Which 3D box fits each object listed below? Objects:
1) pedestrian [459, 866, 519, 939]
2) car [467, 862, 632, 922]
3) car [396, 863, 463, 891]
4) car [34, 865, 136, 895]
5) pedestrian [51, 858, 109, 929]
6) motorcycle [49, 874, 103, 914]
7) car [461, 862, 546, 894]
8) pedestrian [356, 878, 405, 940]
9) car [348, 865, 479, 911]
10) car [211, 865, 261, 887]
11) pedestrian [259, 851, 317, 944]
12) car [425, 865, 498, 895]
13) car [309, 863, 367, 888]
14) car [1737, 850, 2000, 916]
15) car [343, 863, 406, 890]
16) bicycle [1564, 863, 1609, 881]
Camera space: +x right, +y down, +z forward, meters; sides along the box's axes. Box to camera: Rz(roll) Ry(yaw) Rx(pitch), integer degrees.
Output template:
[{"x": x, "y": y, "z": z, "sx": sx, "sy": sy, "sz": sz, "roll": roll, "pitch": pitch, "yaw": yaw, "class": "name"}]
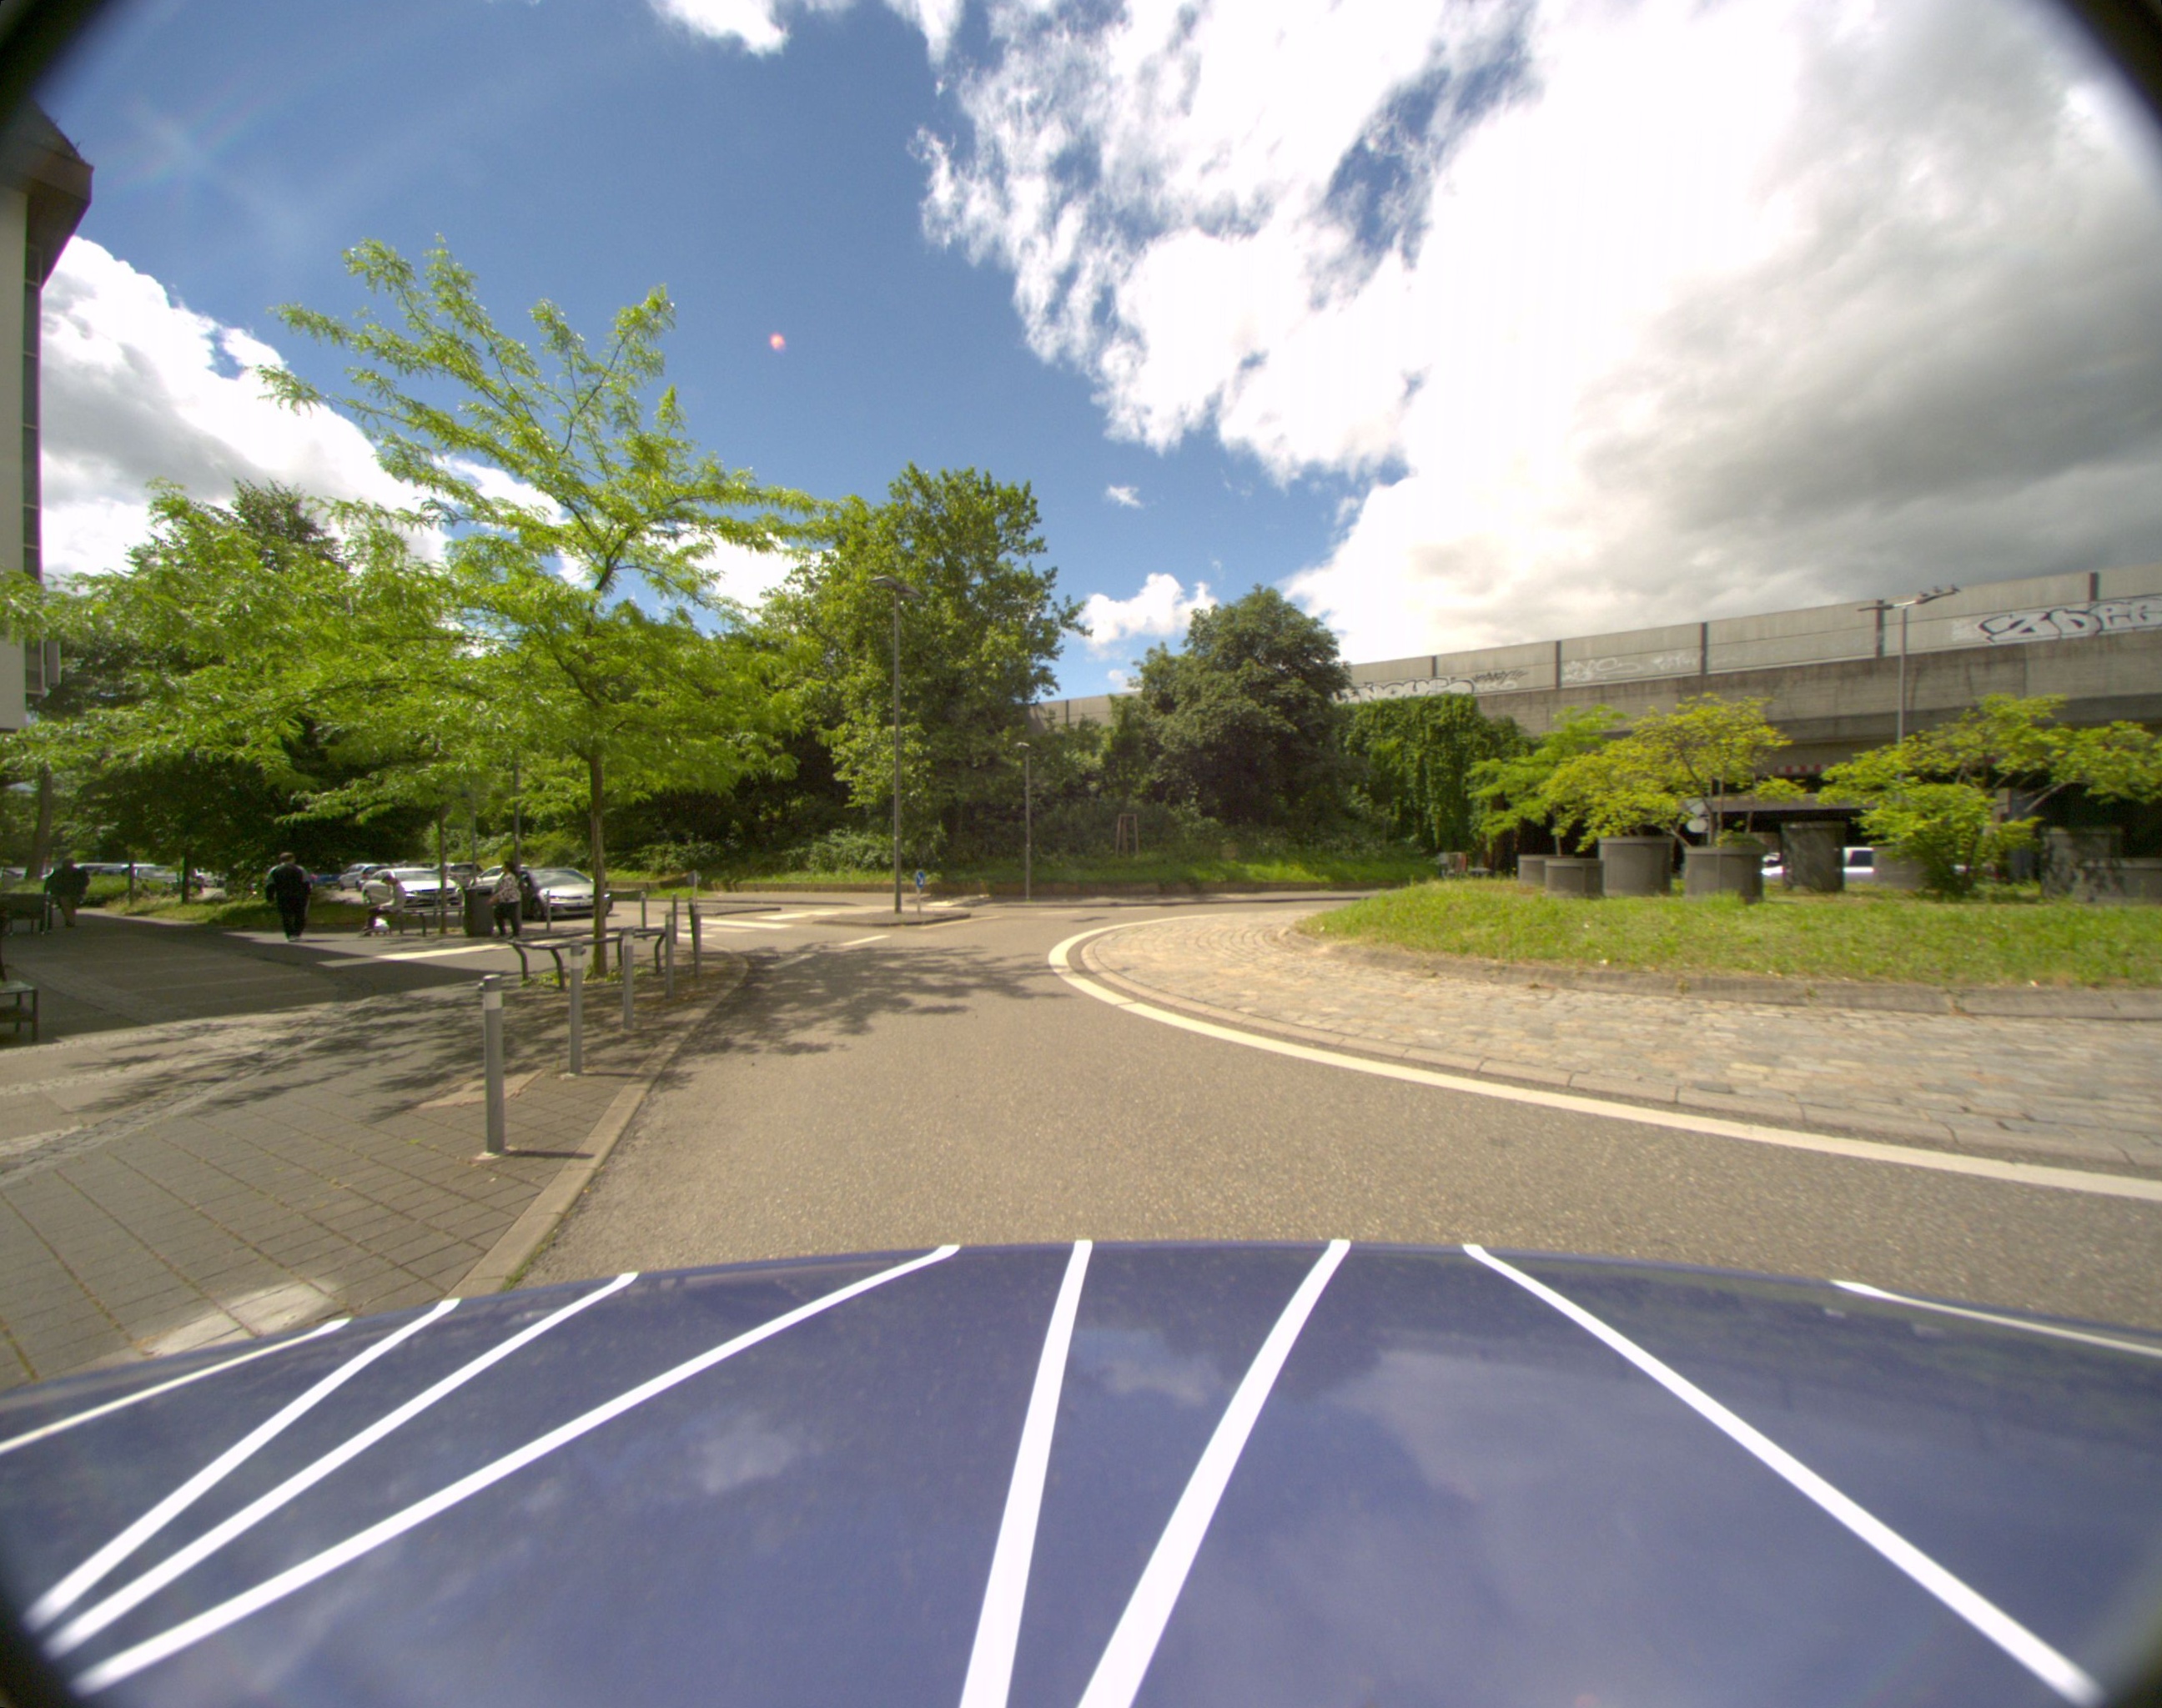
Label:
[{"x": -12.882, "y": 1.036, "z": 16.562, "sx": 0.780, "sy": 1.544, "sz": 0.765, "roll": -1, "pitch": 0, "yaw": -15, "class": "pedestrian"}, {"x": -15.335, "y": 1.036, "z": 21.889, "sx": 4.573, "sy": 1.499, "sz": 2.003, "roll": -1, "pitch": 1, "yaw": 28, "class": "car"}, {"x": -36.518, "y": 1.270, "z": 42.577, "sx": 3.988, "sy": 1.477, "sz": 1.939, "roll": 0, "pitch": 0, "yaw": 35, "class": "car"}, {"x": -52.340, "y": 1.339, "z": 39.938, "sx": 4.574, "sy": 1.499, "sz": 2.003, "roll": -1, "pitch": -1, "yaw": 21, "class": "car"}, {"x": -24.008, "y": 0.942, "z": 18.225, "sx": 0.696, "sy": 1.664, "sz": 0.618, "roll": -1, "pitch": 0, "yaw": 15, "class": "pedestrian"}, {"x": -34.264, "y": 1.341, "z": 25.898, "sx": 2.180, "sy": 1.284, "sz": 0.859, "roll": 0, "pitch": 1, "yaw": 31, "class": "motorcycle"}, {"x": -27.738, "y": 1.132, "z": 36.478, "sx": 3.989, "sy": 1.323, "sz": 1.760, "roll": -1, "pitch": 3, "yaw": 31, "class": "car"}, {"x": -15.039, "y": 1.172, "z": 16.317, "sx": 0.615, "sy": 1.277, "sz": 0.699, "roll": -1, "pitch": 0, "yaw": 41, "class": "pedestrian"}, {"x": -24.206, "y": 1.200, "z": 27.531, "sx": 4.573, "sy": 1.499, "sz": 2.003, "roll": -1, "pitch": 1, "yaw": 28, "class": "car"}, {"x": -60.801, "y": 1.576, "z": 54.636, "sx": 3.989, "sy": 1.477, "sz": 1.939, "roll": -1, "pitch": 0, "yaw": 35, "class": "car"}, {"x": -15.948, "y": 0.851, "z": 15.279, "sx": 0.615, "sy": 1.808, "sz": 0.699, "roll": 0, "pitch": 0, "yaw": 33, "class": "pedestrian"}, {"x": -32.195, "y": 1.341, "z": 39.456, "sx": 3.989, "sy": 1.477, "sz": 1.939, "roll": -1, "pitch": 0, "yaw": 35, "class": "car"}, {"x": -46.929, "y": 1.336, "z": 47.973, "sx": 3.989, "sy": 1.477, "sz": 1.939, "roll": -1, "pitch": 0, "yaw": 35, "class": "car"}, {"x": 18.162, "y": 0.615, "z": 17.732, "sx": 1.718, "sy": 1.346, "sz": 3.990, "roll": -1, "pitch": 0, "yaw": -31, "class": "car"}, {"x": -41.179, "y": 1.292, "z": 44.270, "sx": 3.989, "sy": 1.477, "sz": 1.939, "roll": -1, "pitch": 0, "yaw": 35, "class": "car"}, {"x": 26.886, "y": 0.957, "z": 40.410, "sx": 1.946, "sy": 0.899, "sz": 0.508, "roll": 1, "pitch": 2, "yaw": 35, "class": "bicycle"}]
